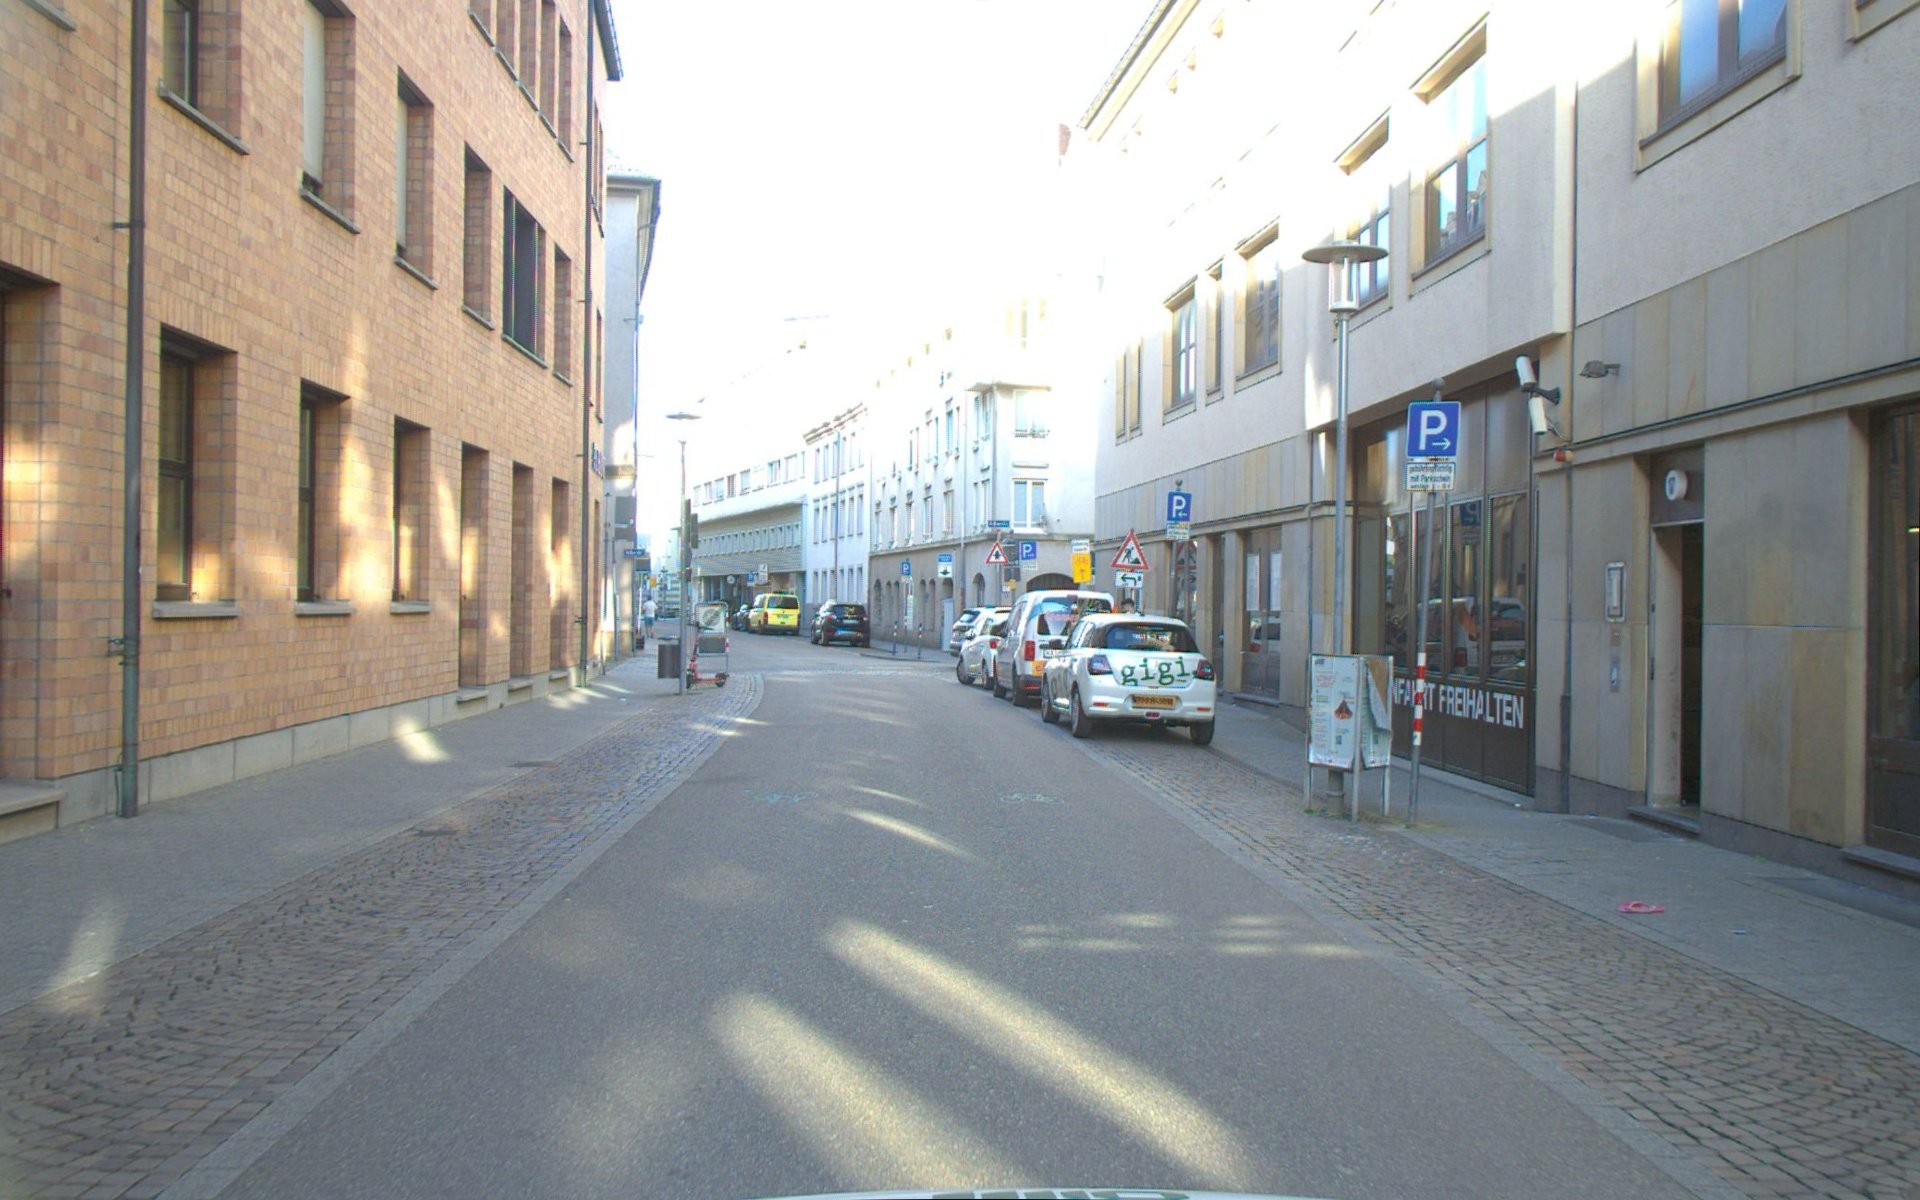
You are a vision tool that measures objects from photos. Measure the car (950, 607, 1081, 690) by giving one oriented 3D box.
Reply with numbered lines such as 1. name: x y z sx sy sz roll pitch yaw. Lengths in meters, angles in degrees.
1. car: 1.049 0.934 33.580 1.854 1.545 4.053 1 0 -10

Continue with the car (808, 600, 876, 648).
1. car: -4.549 0.890 63.146 1.934 1.721 4.088 2 0 -13

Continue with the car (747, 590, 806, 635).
1. car: -8.827 0.572 79.165 2.020 2.049 4.154 1 0 -17

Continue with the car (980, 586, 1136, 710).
1. car: 1.520 0.740 27.658 1.795 1.822 5.207 2 0 -5

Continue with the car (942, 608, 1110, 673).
1. car: 1.640 1.000 41.768 3.917 1.589 1.837 0 0 -13

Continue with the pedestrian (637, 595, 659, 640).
1. pedestrian: -12.230 0.670 64.863 0.754 1.755 0.683 1 0 -19

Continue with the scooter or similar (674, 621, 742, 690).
1. scooter or similar: -4.754 1.034 31.306 0.683 1.239 1.357 0 0 22

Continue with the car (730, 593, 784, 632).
1. car: -10.426 0.636 84.809 2.020 1.905 4.080 1 0 -17

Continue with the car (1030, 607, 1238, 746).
1. car: 2.129 0.908 21.387 1.805 1.504 4.163 3 0 -6

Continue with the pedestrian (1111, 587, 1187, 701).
1. pedestrian: 3.130 0.723 27.449 1.022 1.833 1.197 1 -1 -6
